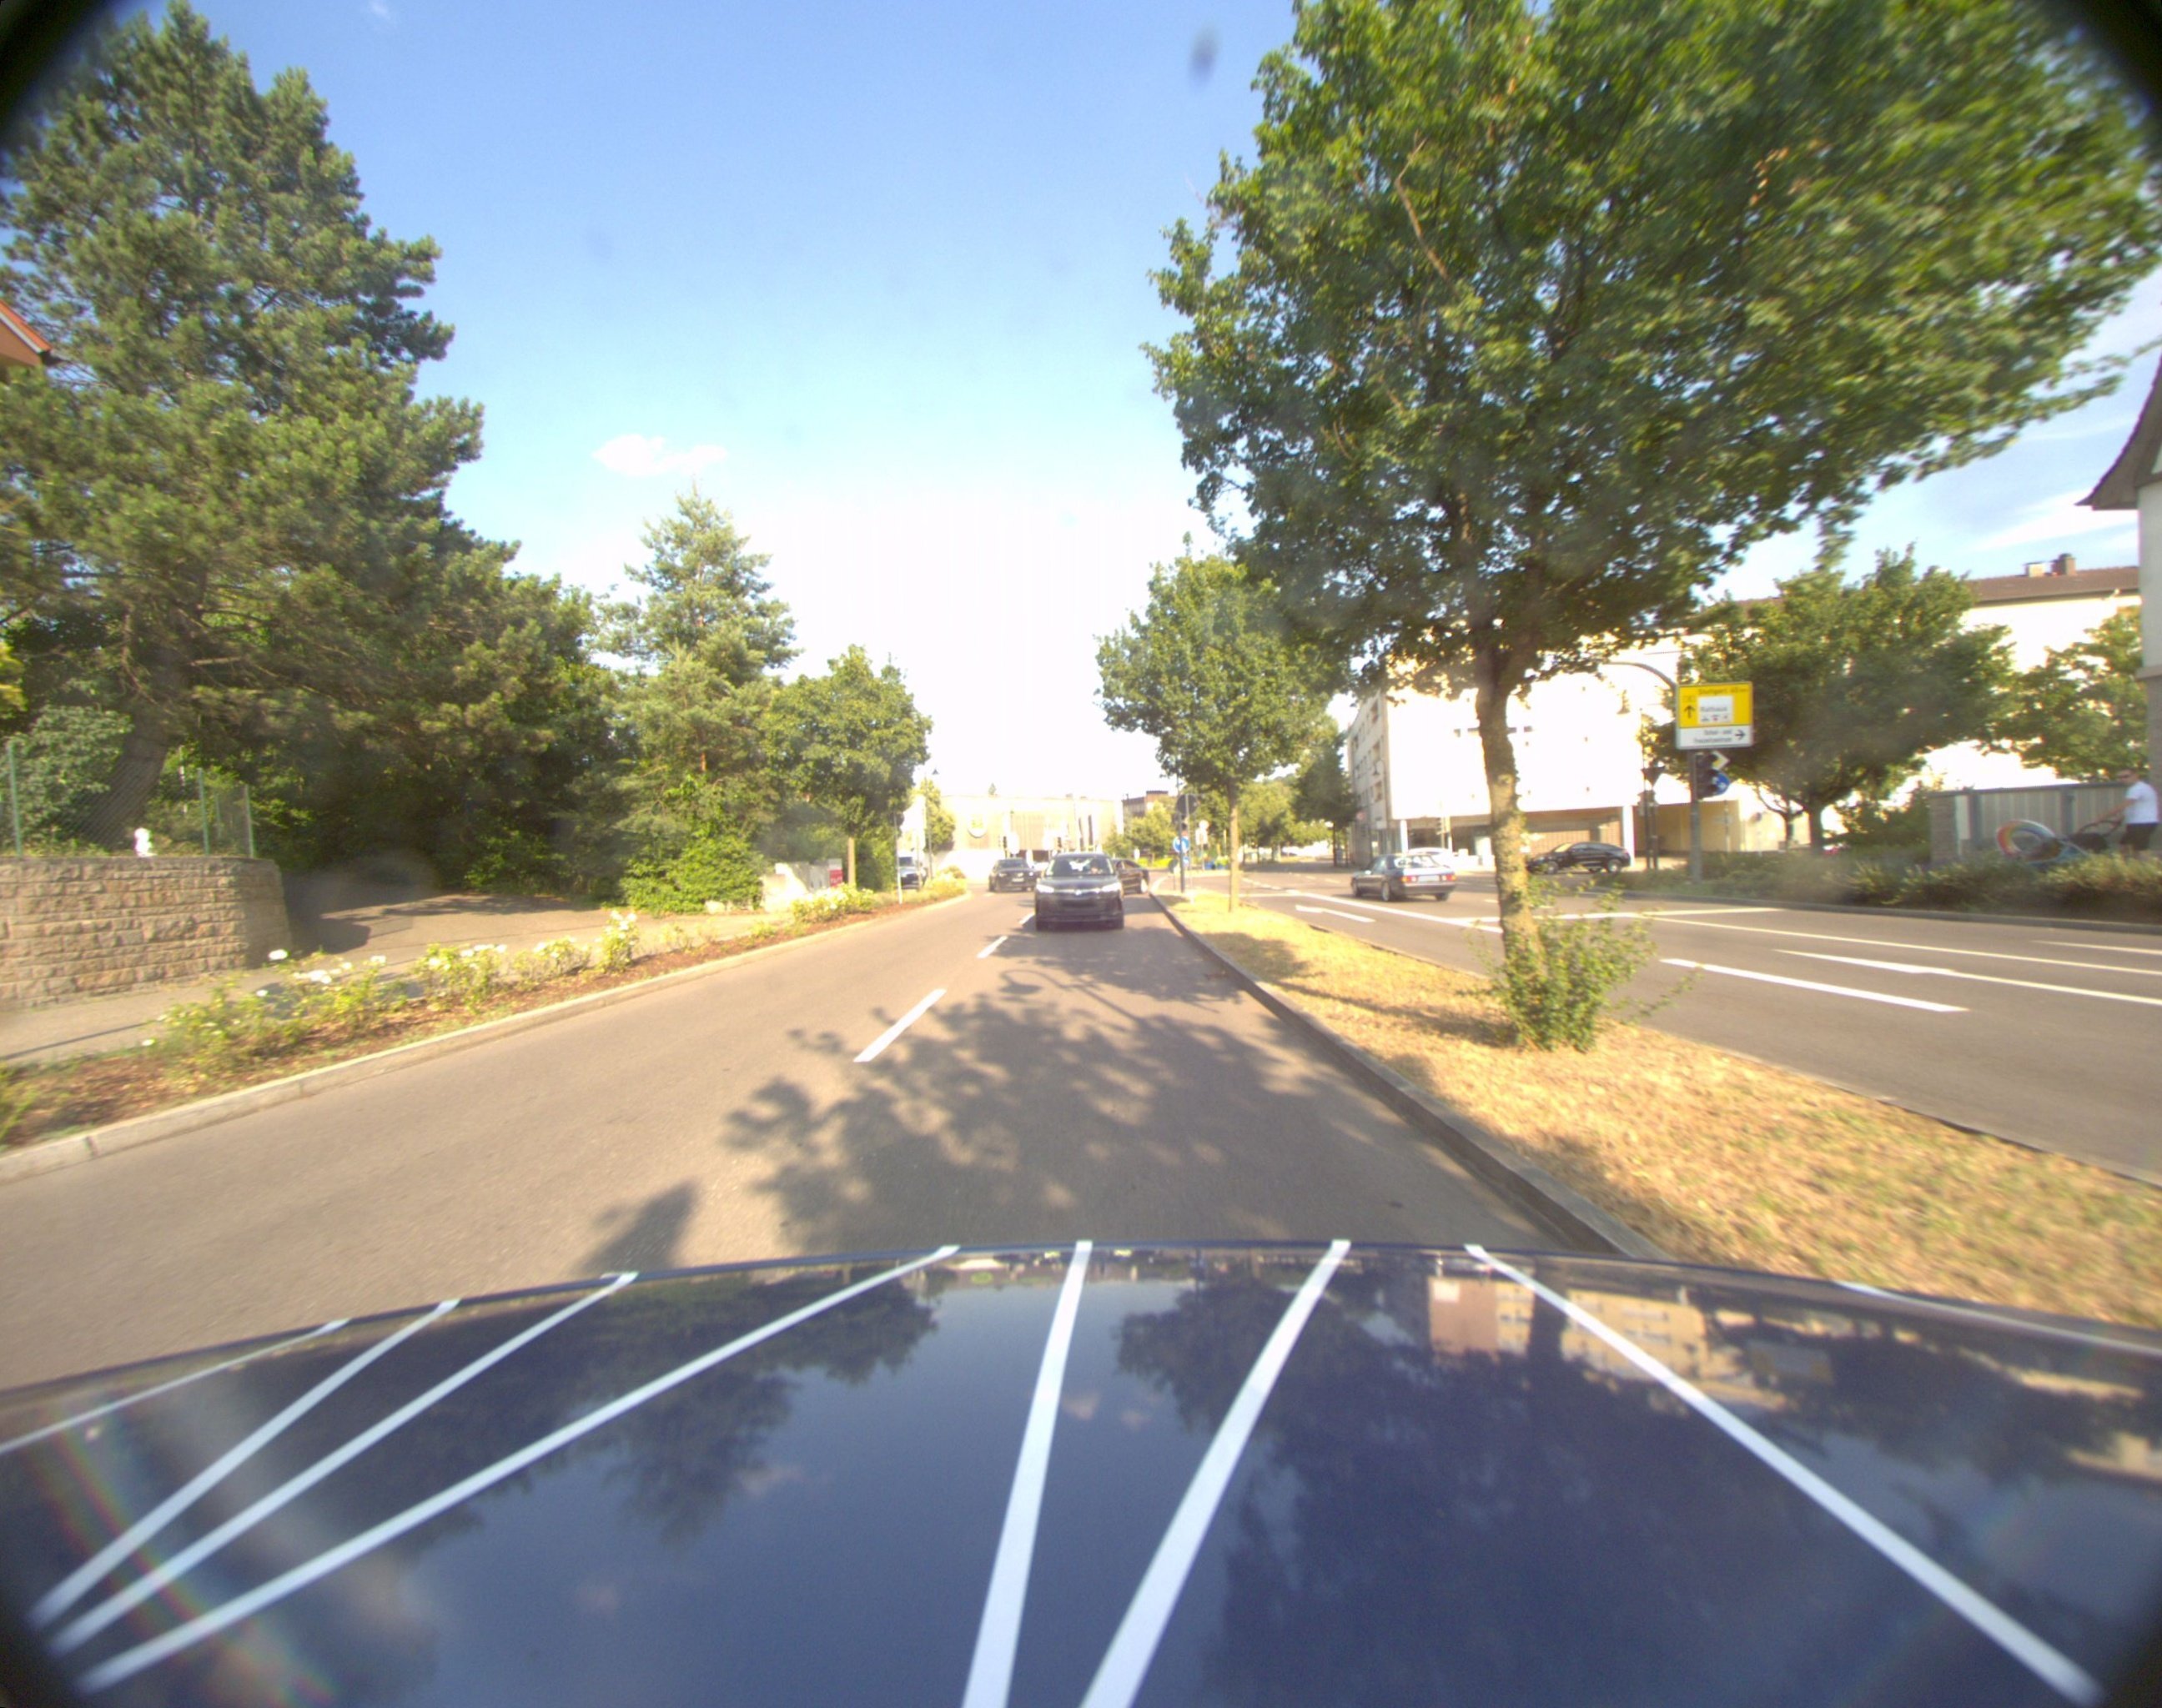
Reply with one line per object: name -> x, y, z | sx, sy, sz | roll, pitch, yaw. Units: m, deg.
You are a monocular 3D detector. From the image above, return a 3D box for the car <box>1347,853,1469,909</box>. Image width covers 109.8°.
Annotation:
car -> 9.310, 0.707, 22.012 | 1.766, 1.346, 4.161 | -2, 1, 1

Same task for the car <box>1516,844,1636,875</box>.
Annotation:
car -> 24.398, 0.274, 37.581 | 4.661, 1.346, 1.768 | -2, 1, 8

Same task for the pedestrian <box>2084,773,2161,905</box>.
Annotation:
pedestrian -> 16.255, -0.235, 11.744 | 0.699, 1.971, 0.588 | -2, 1, 1

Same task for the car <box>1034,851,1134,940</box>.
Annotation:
car -> 0.066, 0.802, 17.277 | 1.894, 1.647, 4.729 | -2, 1, 0

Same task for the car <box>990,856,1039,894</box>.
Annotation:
car -> -3.190, 0.935, 36.015 | 1.887, 1.599, 4.123 | -2, 1, -10

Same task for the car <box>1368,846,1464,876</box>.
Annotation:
car -> 17.059, 0.358, 38.819 | 4.126, 1.346, 1.768 | -2, 1, 5

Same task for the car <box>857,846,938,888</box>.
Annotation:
car -> -12.426, 0.864, 51.057 | 2.377, 2.532, 6.175 | -3, 1, -44

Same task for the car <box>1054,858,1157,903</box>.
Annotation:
car -> 1.037, 0.953, 28.792 | 1.682, 1.427, 4.598 | -1, 1, 33

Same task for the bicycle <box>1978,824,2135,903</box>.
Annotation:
bicycle -> 16.237, 0.138, 12.705 | 0.681, 1.215, 1.514 | -2, 1, 1
